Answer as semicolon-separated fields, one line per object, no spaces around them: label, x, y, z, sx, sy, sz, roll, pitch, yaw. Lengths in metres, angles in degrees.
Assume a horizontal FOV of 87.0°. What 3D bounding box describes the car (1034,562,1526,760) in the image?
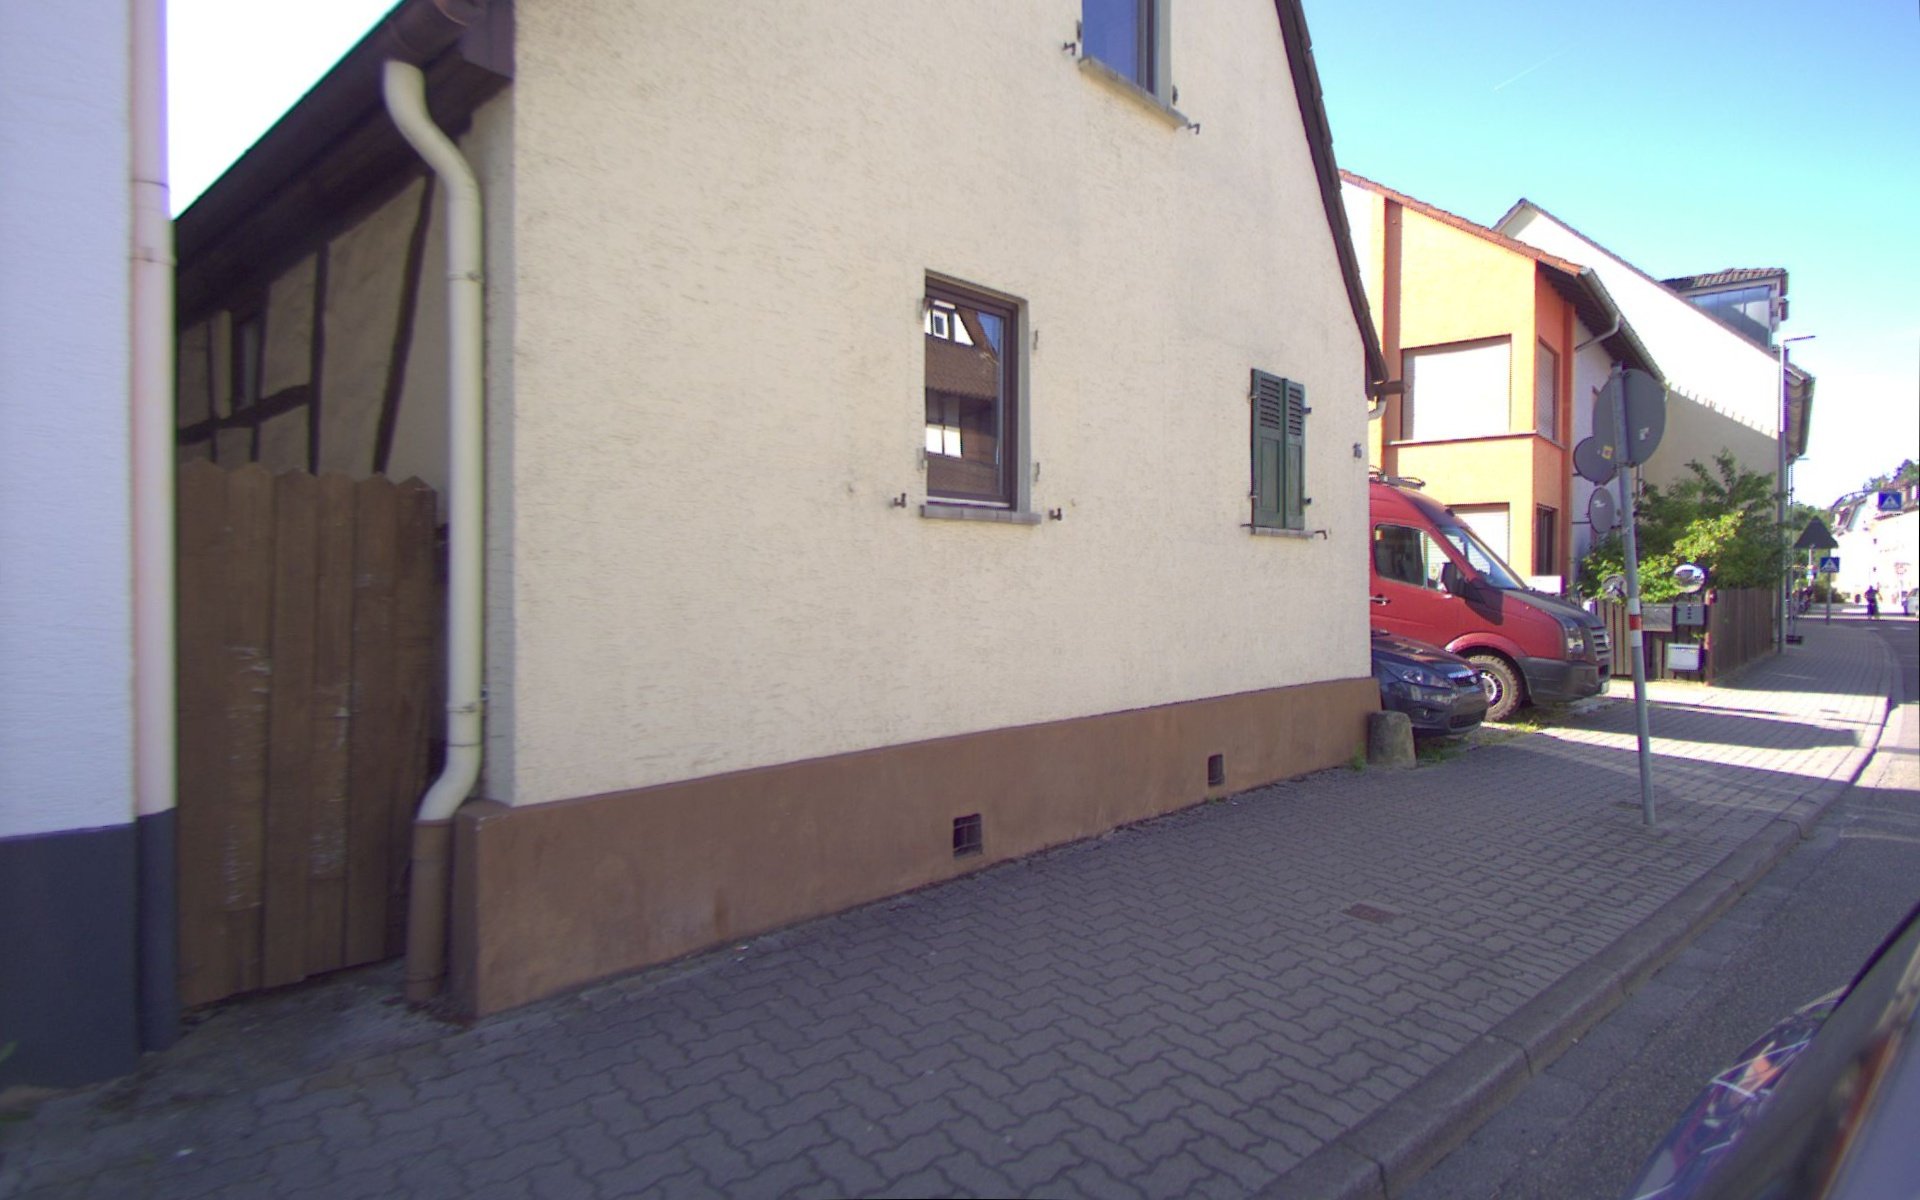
car;3.013;0.403;10.190;4.374;1.505;1.812;3;4;43

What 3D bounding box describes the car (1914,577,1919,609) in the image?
car;57.344;-0.348;58.827;1.868;1.904;4.779;1;2;33

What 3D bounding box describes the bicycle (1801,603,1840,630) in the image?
bicycle;55.800;1.028;65.675;1.248;1.571;3.955;-3;0;32

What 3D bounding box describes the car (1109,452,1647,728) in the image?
car;4.829;-0.239;12.480;5.798;2.687;1.939;3;3;41

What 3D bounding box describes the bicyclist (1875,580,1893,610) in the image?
bicyclist;49.126;-0.244;53.815;0.607;1.553;0.646;-3;-1;39

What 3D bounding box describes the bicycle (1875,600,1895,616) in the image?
bicycle;49.128;0.424;53.769;0.621;0.789;1.887;-3;0;38

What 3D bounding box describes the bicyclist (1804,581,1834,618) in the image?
bicyclist;55.785;-0.063;65.752;1.248;2.337;1.228;-3;-1;33
